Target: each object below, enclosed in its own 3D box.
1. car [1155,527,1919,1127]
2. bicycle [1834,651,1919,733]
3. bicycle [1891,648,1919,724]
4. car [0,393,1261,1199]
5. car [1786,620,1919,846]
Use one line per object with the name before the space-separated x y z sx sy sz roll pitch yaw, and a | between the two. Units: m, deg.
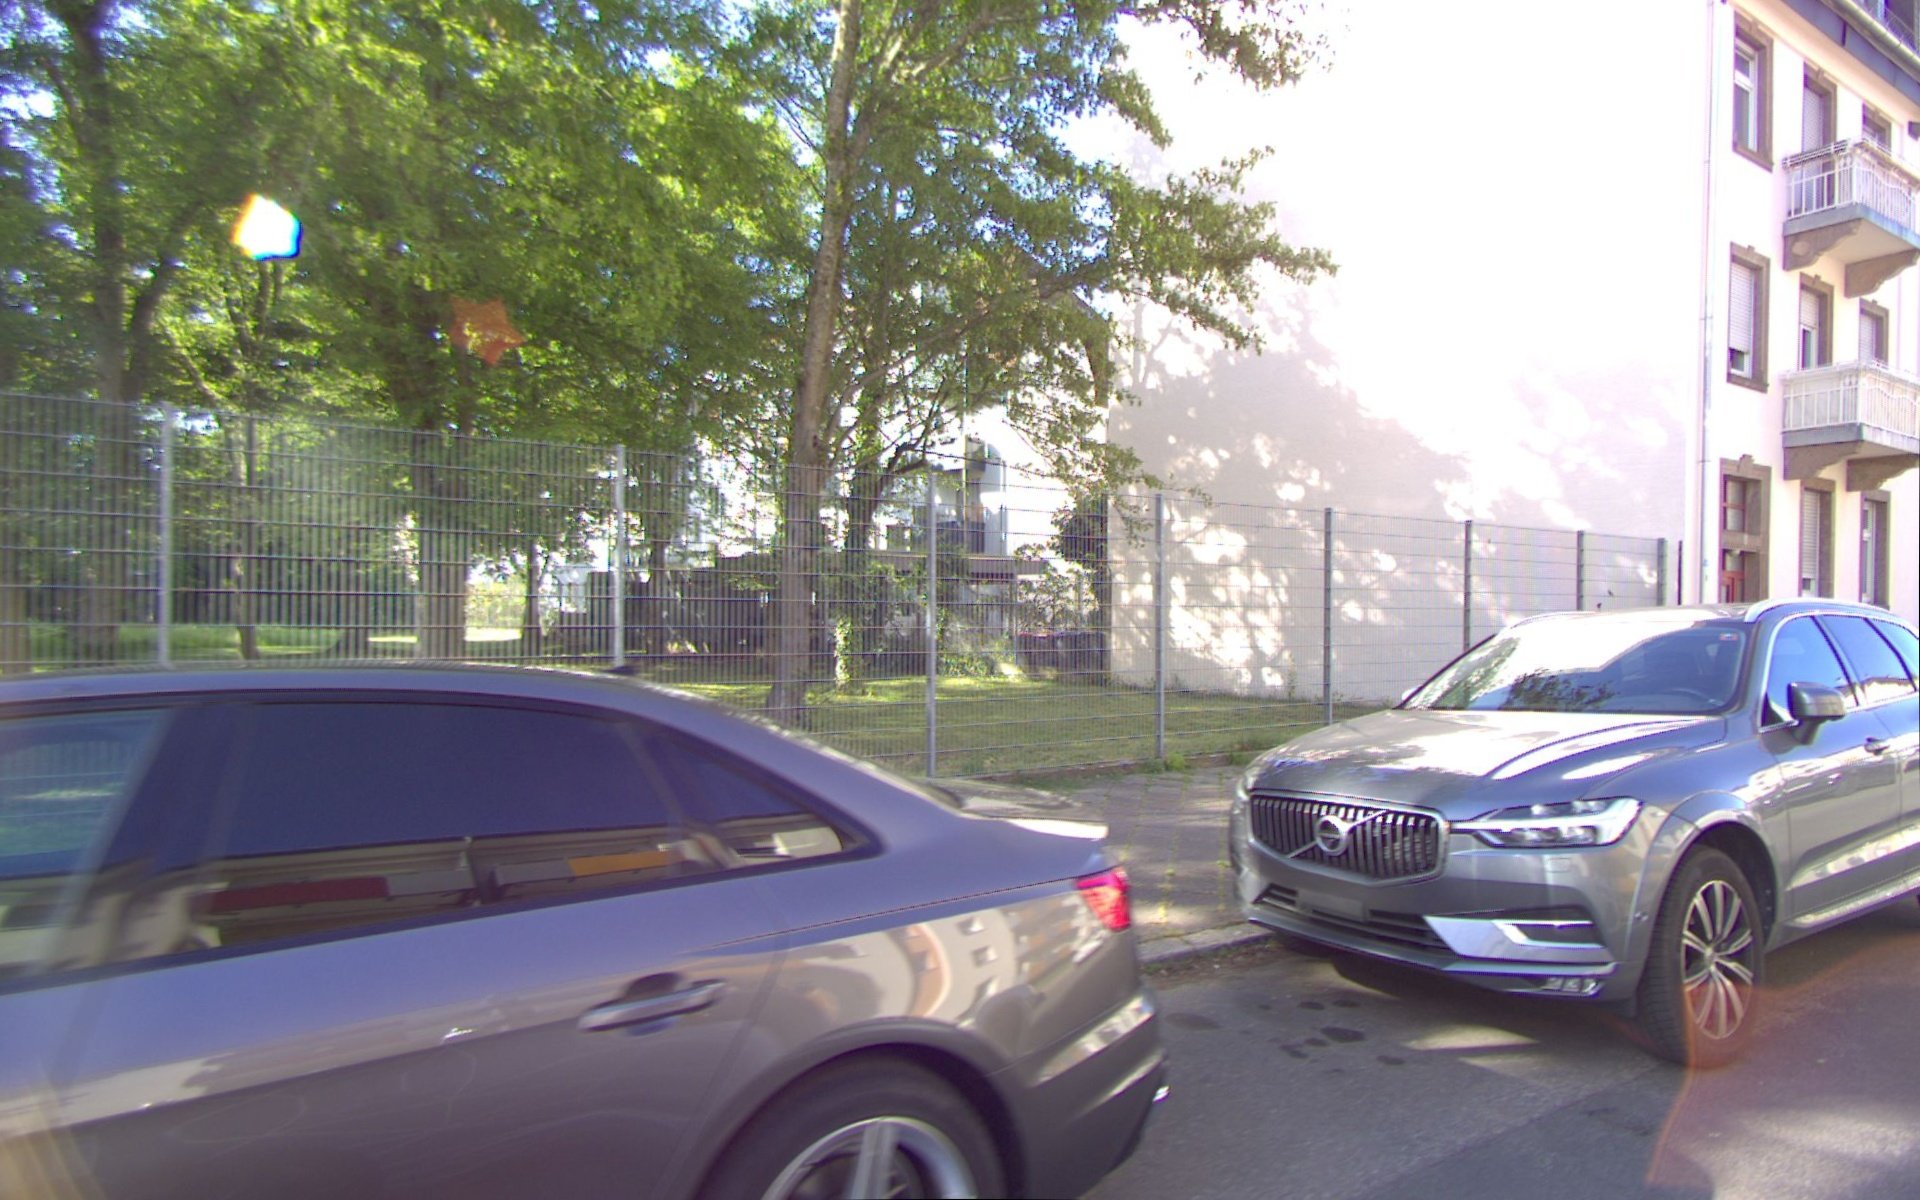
car | 3.422 0.711 4.950 4.877 1.685 1.869 1 -3 -32
bicycle | 15.421 1.499 16.714 2.313 1.220 0.626 0 -1 -31
bicycle | 17.816 1.532 18.348 2.313 1.296 0.566 0 -1 -31
car | -1.637 0.536 1.975 4.452 1.490 1.785 1 -3 -32
car | 8.690 0.971 8.062 4.407 1.583 1.784 1 -2 -30
